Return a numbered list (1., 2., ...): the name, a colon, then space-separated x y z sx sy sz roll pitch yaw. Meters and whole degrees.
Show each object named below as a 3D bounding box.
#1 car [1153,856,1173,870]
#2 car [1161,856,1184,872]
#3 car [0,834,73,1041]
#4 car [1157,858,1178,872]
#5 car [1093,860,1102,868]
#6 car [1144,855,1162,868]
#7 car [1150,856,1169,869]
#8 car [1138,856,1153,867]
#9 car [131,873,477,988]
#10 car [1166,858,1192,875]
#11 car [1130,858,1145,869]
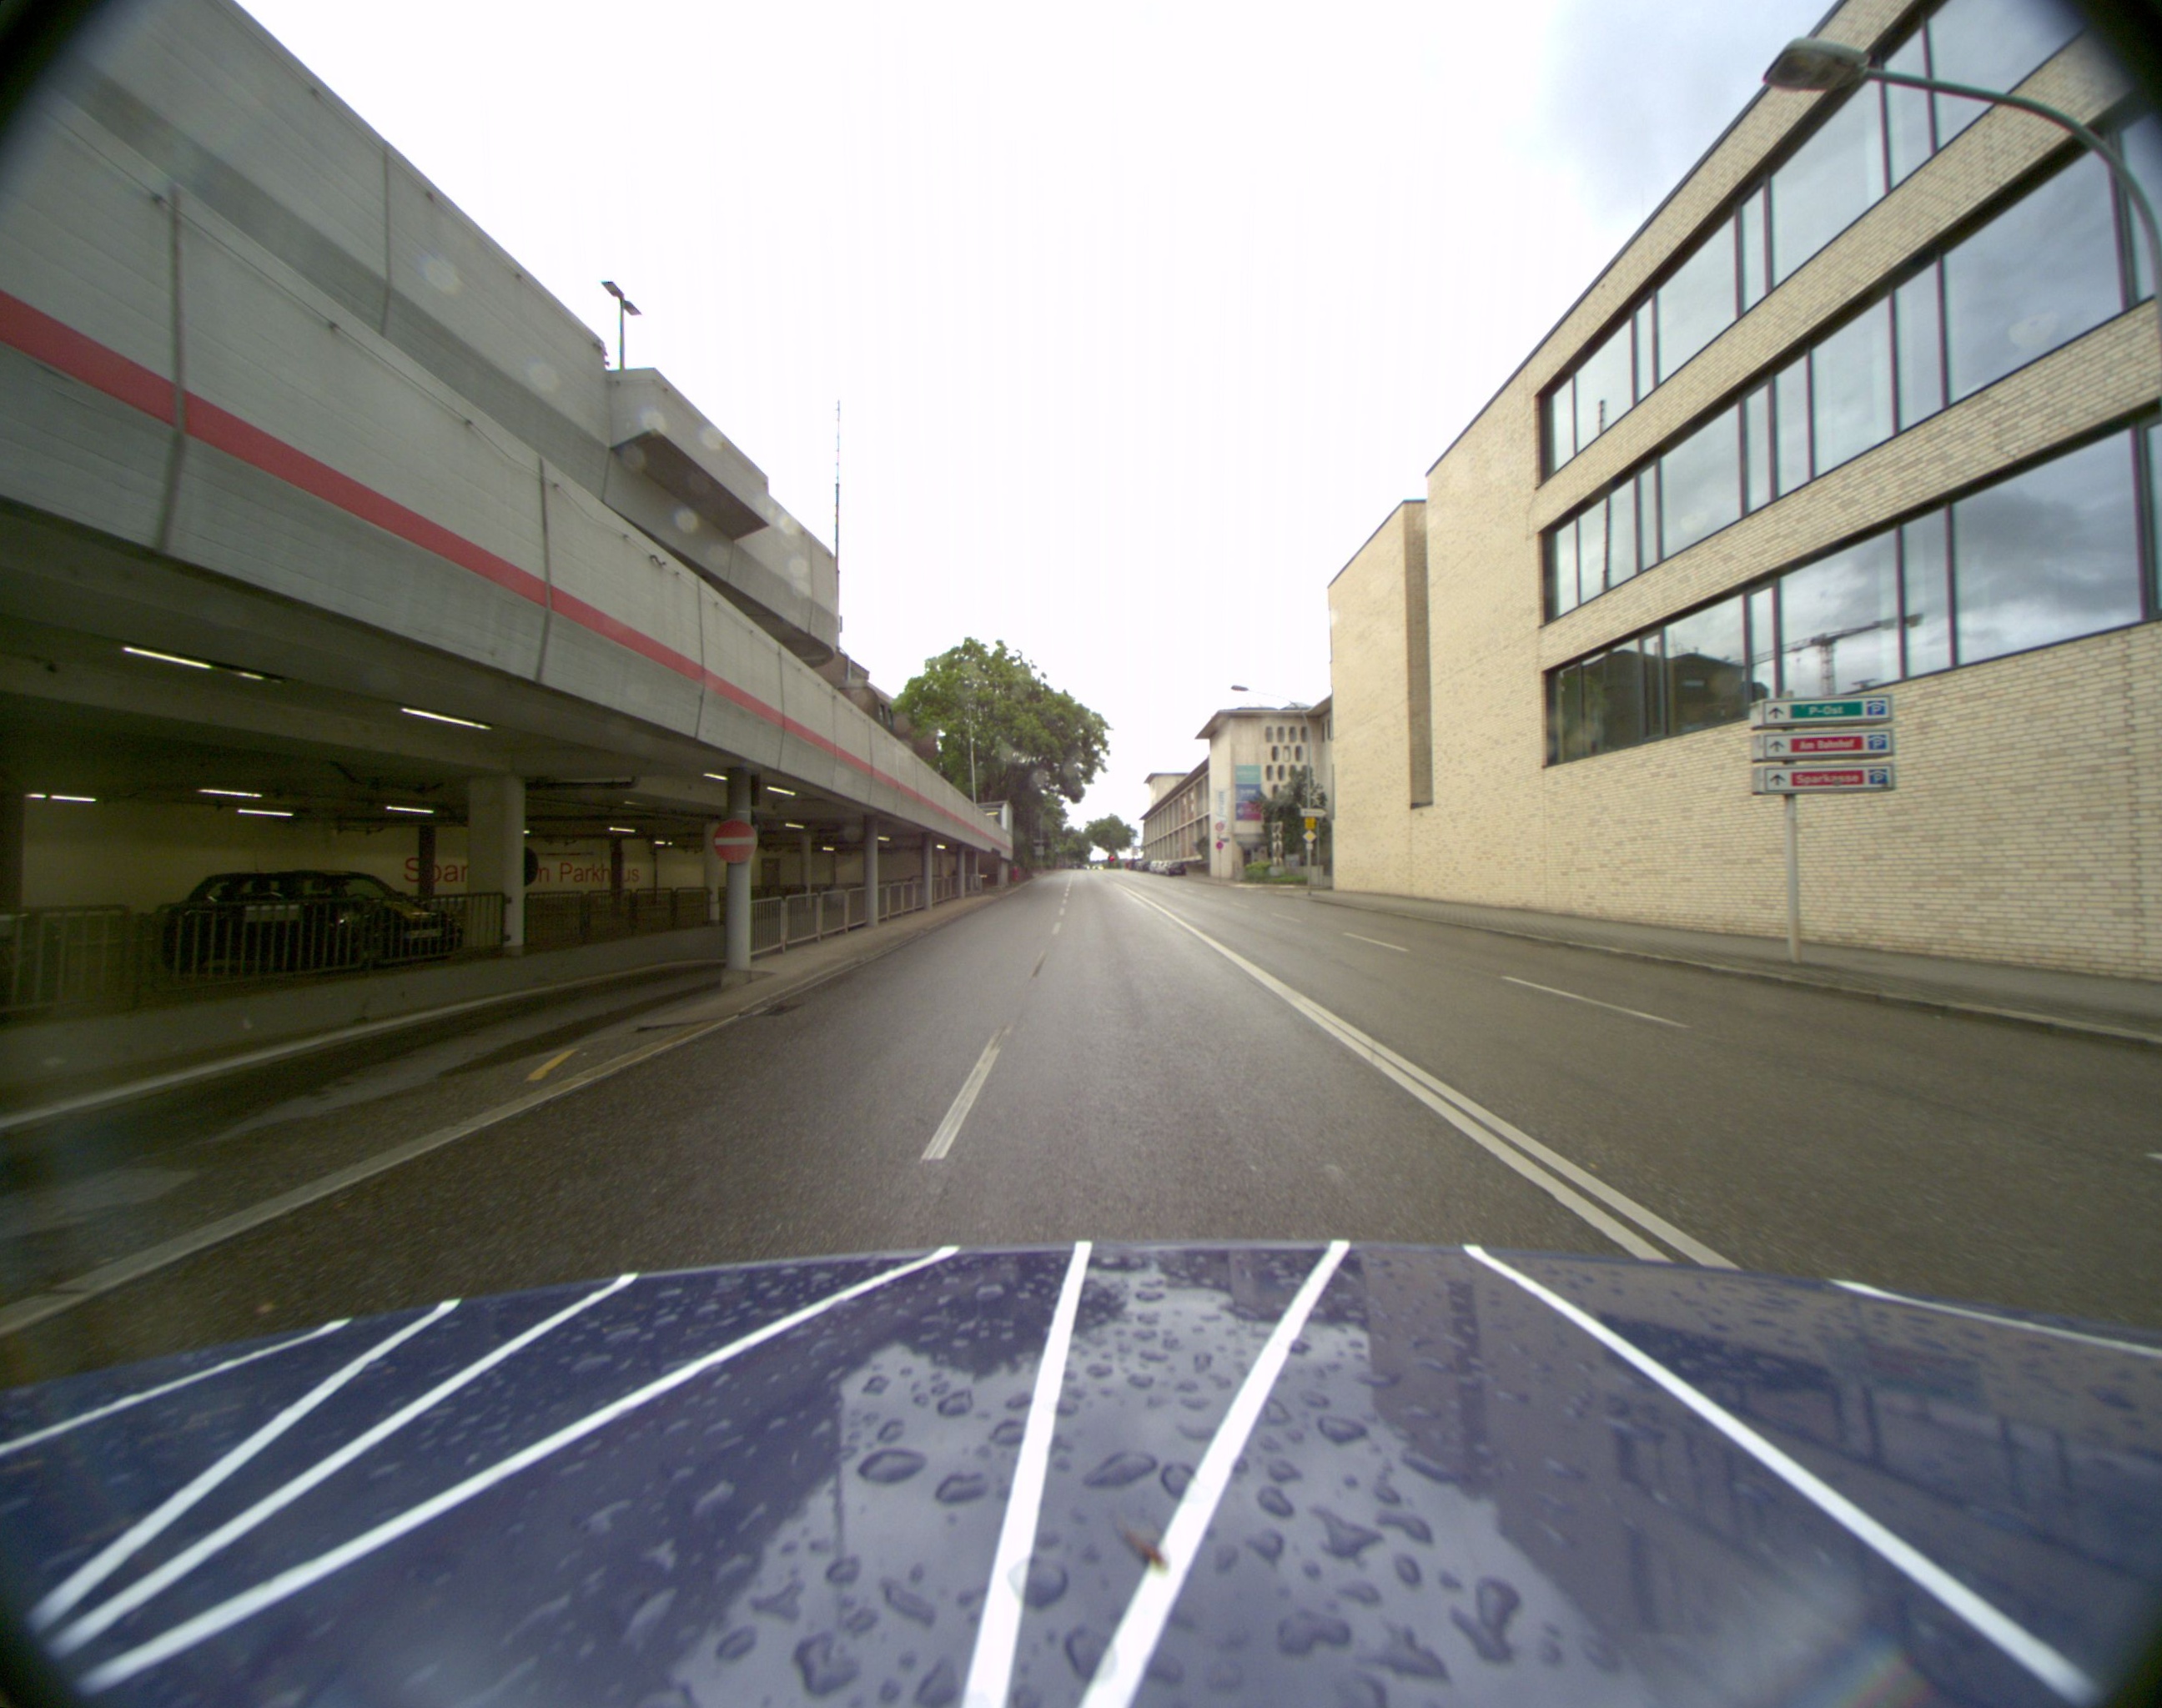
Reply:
1. car: 10.066 1.120 93.644 1.998 1.482 4.185 -3 1 0
2. car: 9.986 1.077 83.132 1.998 1.632 3.999 -3 1 0
3. car: -10.877 0.766 6.035 4.582 1.630 1.824 -2 1 15
4. car: 10.034 1.250 88.743 1.998 1.503 4.000 -3 1 1
5. car: 4.414 2.529 199.405 1.805 2.002 3.997 -3 1 -5
6. car: 10.225 1.059 108.240 1.999 1.701 3.999 -2 1 -1
7. car: 10.263 1.054 100.033 1.999 1.521 3.999 -2 1 -1
8. car: 10.211 1.187 121.073 1.999 1.528 3.999 -3 1 0
9. car: -11.296 1.028 11.163 3.729 1.496 1.809 0 -1 12
10. car: 9.976 1.228 77.816 1.999 1.520 3.999 -3 1 -1
11. car: 9.600 1.548 129.424 1.999 1.637 3.998 -4 2 -1
